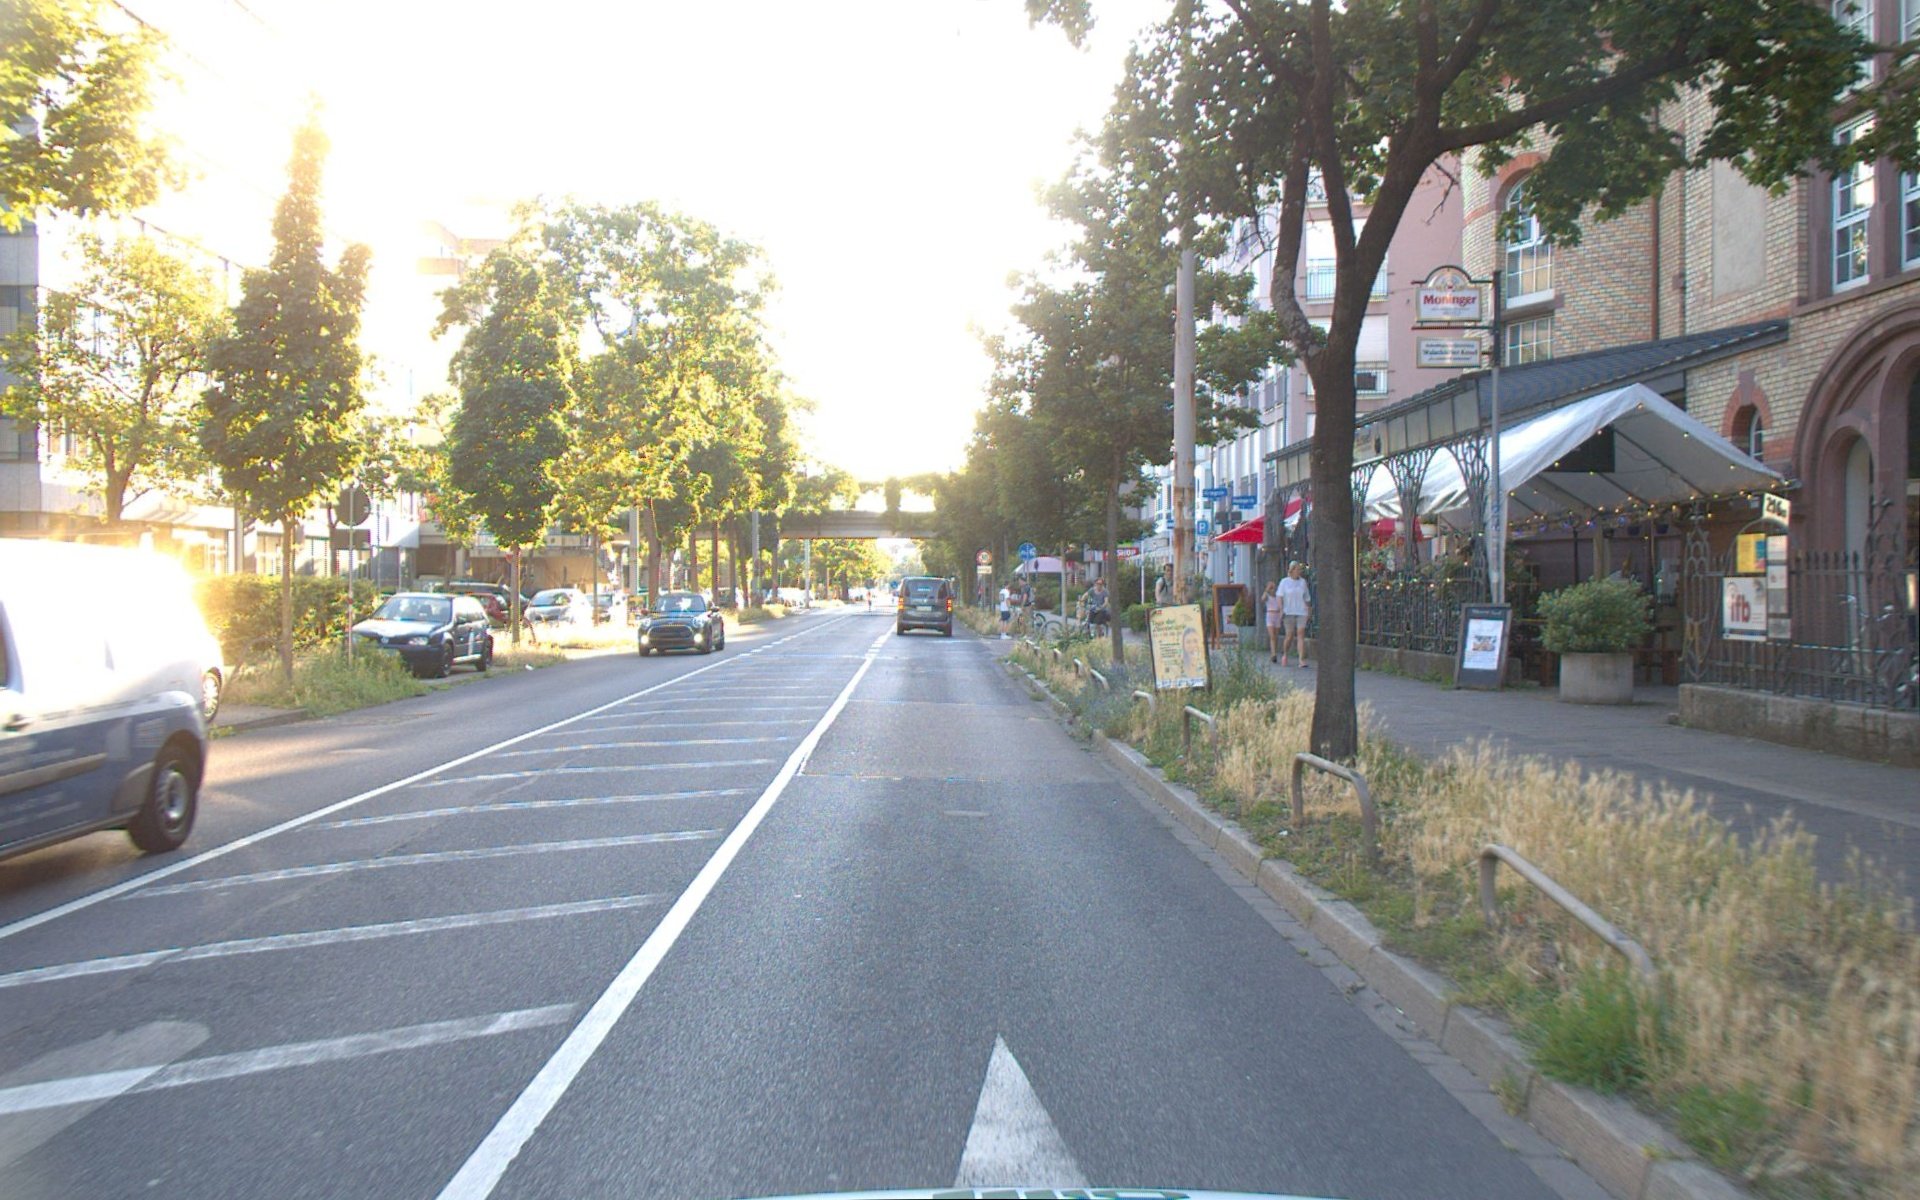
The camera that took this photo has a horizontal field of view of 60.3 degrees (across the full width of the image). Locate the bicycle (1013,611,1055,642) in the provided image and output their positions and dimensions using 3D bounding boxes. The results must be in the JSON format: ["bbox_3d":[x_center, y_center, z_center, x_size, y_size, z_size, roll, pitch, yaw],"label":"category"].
[{"bbox_3d":[2.345,0.845,52.451,0.580,0.913,1.975,2,0,-21],"label":"bicycle"}]

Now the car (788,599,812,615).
[{"bbox_3d":[-15.575,0.672,161.214,1.953,1.439,4.236,2,0,-1],"label":"car"}]

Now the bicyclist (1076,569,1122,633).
[{"bbox_3d":[3.526,0.021,41.990,0.739,1.585,0.934,2,0,38],"label":"bicyclist"}]

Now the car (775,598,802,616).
[{"bbox_3d":[-14.815,0.585,143.127,1.953,1.439,4.236,2,0,-1],"label":"car"}]

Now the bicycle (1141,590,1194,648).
[{"bbox_3d":[3.451,0.302,27.617,0.567,0.913,1.987,2,0,-1],"label":"bicycle"}]

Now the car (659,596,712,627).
[{"bbox_3d":[-13.494,0.543,81.427,1.953,1.439,4.236,2,0,-1],"label":"car"}]

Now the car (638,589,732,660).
[{"bbox_3d":[-6.591,0.552,39.969,1.645,1.556,3.999,-2,0,-1],"label":"car"}]

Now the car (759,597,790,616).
[{"bbox_3d":[-14.484,0.502,129.229,1.953,1.439,4.236,2,0,-1],"label":"car"}]

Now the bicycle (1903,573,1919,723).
[{"bbox_3d":[8.246,0.396,12.708,1.698,1.157,0.493,2,0,-1],"label":"bicycle"}]

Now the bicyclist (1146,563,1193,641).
[{"bbox_3d":[3.494,0.033,27.624,0.573,1.258,1.111,2,0,-2],"label":"bicyclist"}]

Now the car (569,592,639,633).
[{"bbox_3d":[-12.495,0.415,58.200,1.637,1.337,3.963,2,0,-1],"label":"car"}]

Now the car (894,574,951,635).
[{"bbox_3d":[-1.235,0.133,55.627,1.849,1.958,3.839,-1,0,-1],"label":"car"}]

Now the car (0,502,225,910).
[{"bbox_3d":[-5.350,0.507,7.901,1.796,1.885,4.472,-1,0,-2],"label":"car"}]

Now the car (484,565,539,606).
[{"bbox_3d":[-27.182,-0.877,100.502,1.953,2.348,5.244,2,0,-1],"label":"car"}]

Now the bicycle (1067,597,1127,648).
[{"bbox_3d":[3.494,0.563,41.986,0.537,1.248,1.979,2,0,37],"label":"bicycle"}]

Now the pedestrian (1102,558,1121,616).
[{"bbox_3d":[6.841,-0.592,74.734,0.701,2.583,0.824,2,0,-1],"label":"pedestrian"}]

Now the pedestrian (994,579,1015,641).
[{"bbox_3d":[1.403,0.319,52.054,0.496,1.922,0.543,2,0,-16],"label":"pedestrian"}]

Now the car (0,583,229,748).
[{"bbox_3d":[-9.268,0.589,17.182,1.663,1.477,3.998,2,0,-2],"label":"car"}]

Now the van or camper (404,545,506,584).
[{"bbox_3d":[-36.024,-2.496,118.119,6.432,2.566,2.448,2,0,-3],"label":"van or camper"}]

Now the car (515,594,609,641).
[{"bbox_3d":[-12.288,0.503,51.291,1.953,1.333,4.064,2,0,-1],"label":"car"}]

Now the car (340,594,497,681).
[{"bbox_3d":[-9.628,0.622,29.703,1.605,1.410,3.998,2,0,-2],"label":"car"}]

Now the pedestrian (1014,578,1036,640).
[{"bbox_3d":[2.018,0.266,51.641,0.496,1.922,0.543,2,0,-16],"label":"pedestrian"}]

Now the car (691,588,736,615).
[{"bbox_3d":[-14.190,0.077,95.410,1.953,1.439,4.236,2,0,-1],"label":"car"}]

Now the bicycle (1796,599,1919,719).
[{"bbox_3d":[7.894,0.496,13.931,1.415,0.963,0.534,2,0,-1],"label":"bicycle"}]

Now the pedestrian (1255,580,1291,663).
[{"bbox_3d":[5.263,0.362,27.824,0.457,1.374,0.530,2,0,-1],"label":"pedestrian"}]

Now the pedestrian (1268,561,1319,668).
[{"bbox_3d":[5.302,0.225,26.307,0.631,1.661,0.656,2,0,-1],"label":"pedestrian"}]
